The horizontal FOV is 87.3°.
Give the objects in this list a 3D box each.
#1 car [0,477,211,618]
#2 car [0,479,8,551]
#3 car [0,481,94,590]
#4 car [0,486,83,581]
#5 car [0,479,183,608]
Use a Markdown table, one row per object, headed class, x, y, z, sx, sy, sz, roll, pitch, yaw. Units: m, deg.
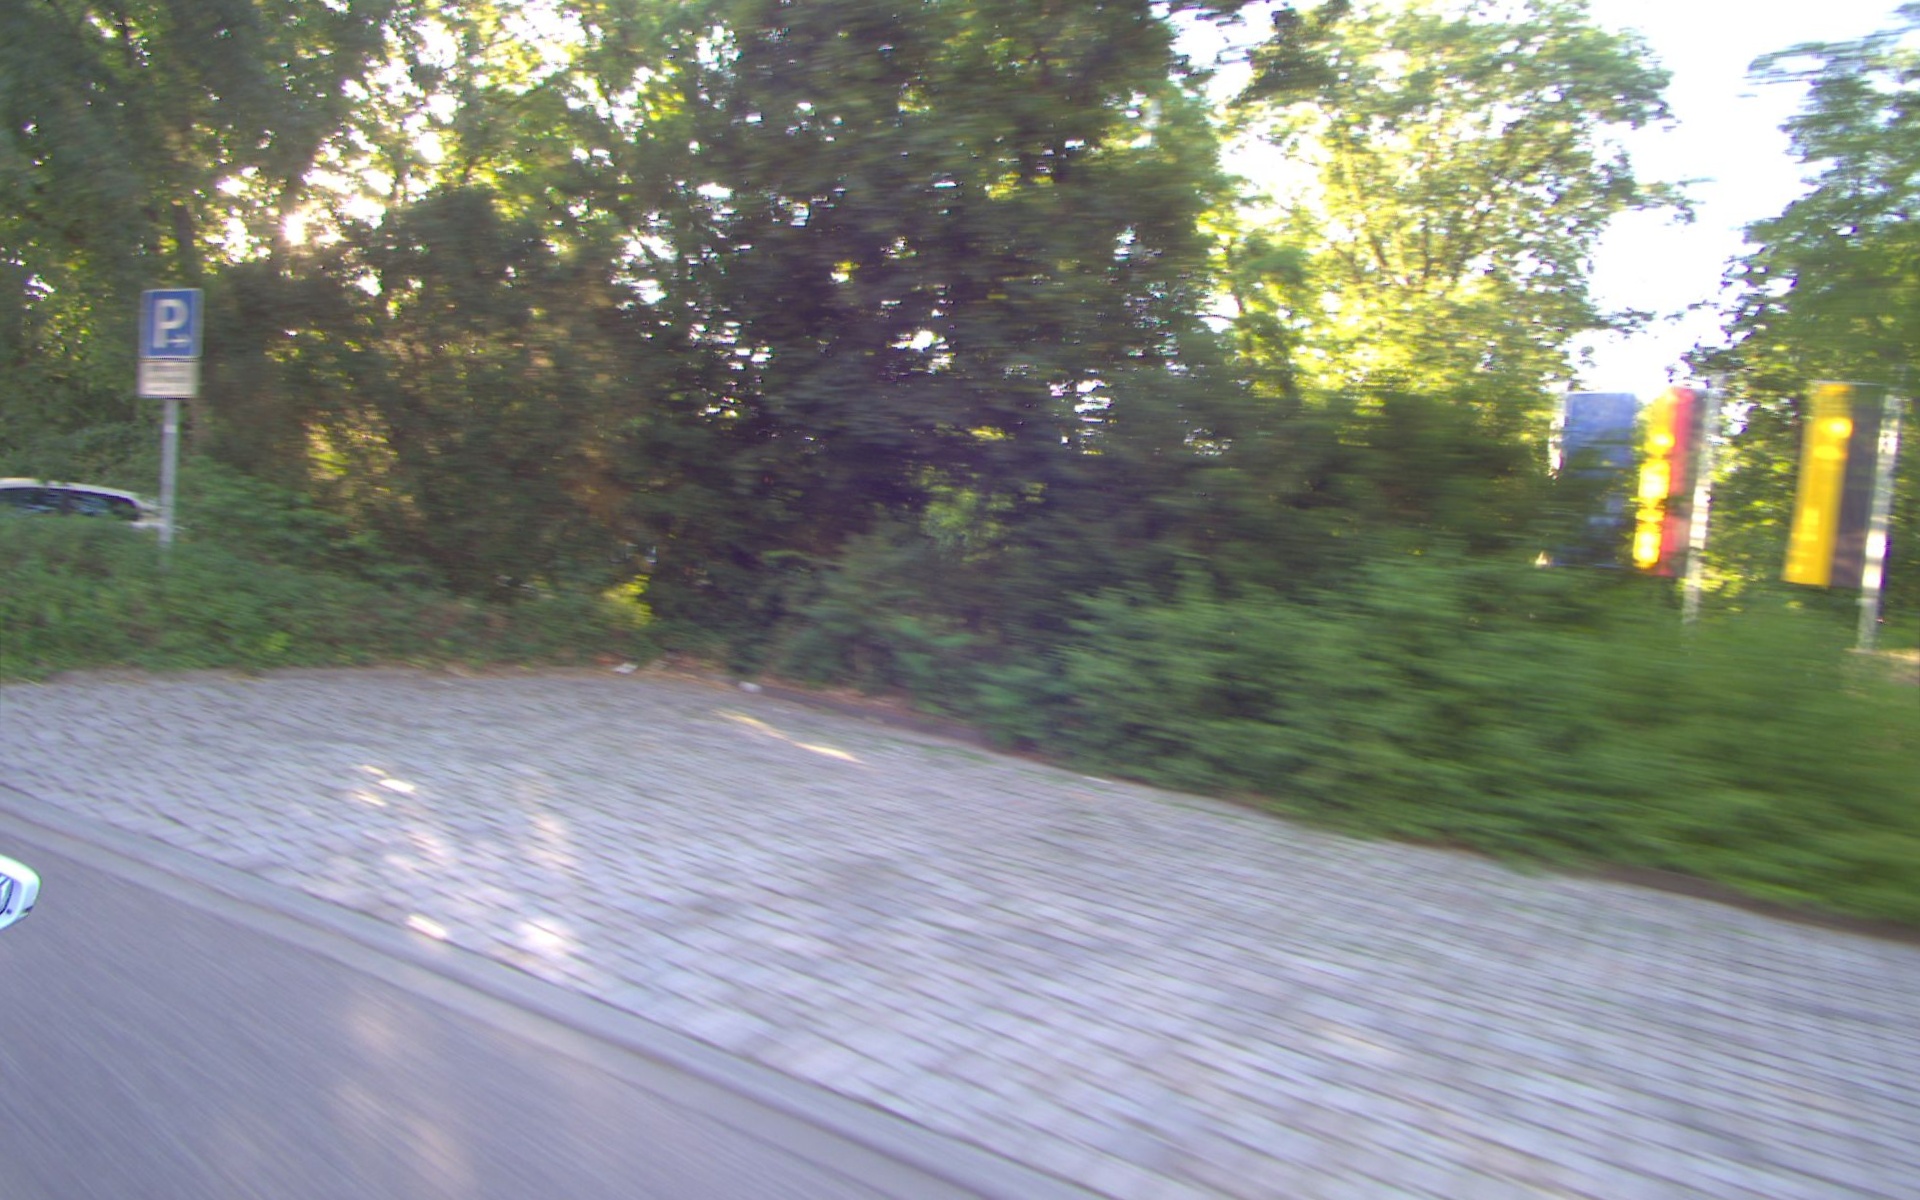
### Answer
| class | x | y | z | sx | sy | sz | roll | pitch | yaw |
| --- | --- | --- | --- | --- | --- | --- | --- | --- | --- |
| car | -11.751 | -0.707 | 12.145 | 1.699 | 1.575 | 3.983 | 7 | 2 | 37 |
| car | -22.982 | -1.994 | 21.207 | 1.700 | 1.574 | 3.983 | 3 | 0 | 37 |
| car | -15.819 | -1.130 | 15.078 | 1.725 | 1.575 | 3.983 | 8 | 2 | 37 |
| car | -17.713 | -1.285 | 16.604 | 1.825 | 1.574 | 4.490 | 6 | 1 | 28 |
| car | -13.136 | -0.850 | 13.464 | 1.699 | 1.575 | 3.983 | 8 | 2 | 37 |
